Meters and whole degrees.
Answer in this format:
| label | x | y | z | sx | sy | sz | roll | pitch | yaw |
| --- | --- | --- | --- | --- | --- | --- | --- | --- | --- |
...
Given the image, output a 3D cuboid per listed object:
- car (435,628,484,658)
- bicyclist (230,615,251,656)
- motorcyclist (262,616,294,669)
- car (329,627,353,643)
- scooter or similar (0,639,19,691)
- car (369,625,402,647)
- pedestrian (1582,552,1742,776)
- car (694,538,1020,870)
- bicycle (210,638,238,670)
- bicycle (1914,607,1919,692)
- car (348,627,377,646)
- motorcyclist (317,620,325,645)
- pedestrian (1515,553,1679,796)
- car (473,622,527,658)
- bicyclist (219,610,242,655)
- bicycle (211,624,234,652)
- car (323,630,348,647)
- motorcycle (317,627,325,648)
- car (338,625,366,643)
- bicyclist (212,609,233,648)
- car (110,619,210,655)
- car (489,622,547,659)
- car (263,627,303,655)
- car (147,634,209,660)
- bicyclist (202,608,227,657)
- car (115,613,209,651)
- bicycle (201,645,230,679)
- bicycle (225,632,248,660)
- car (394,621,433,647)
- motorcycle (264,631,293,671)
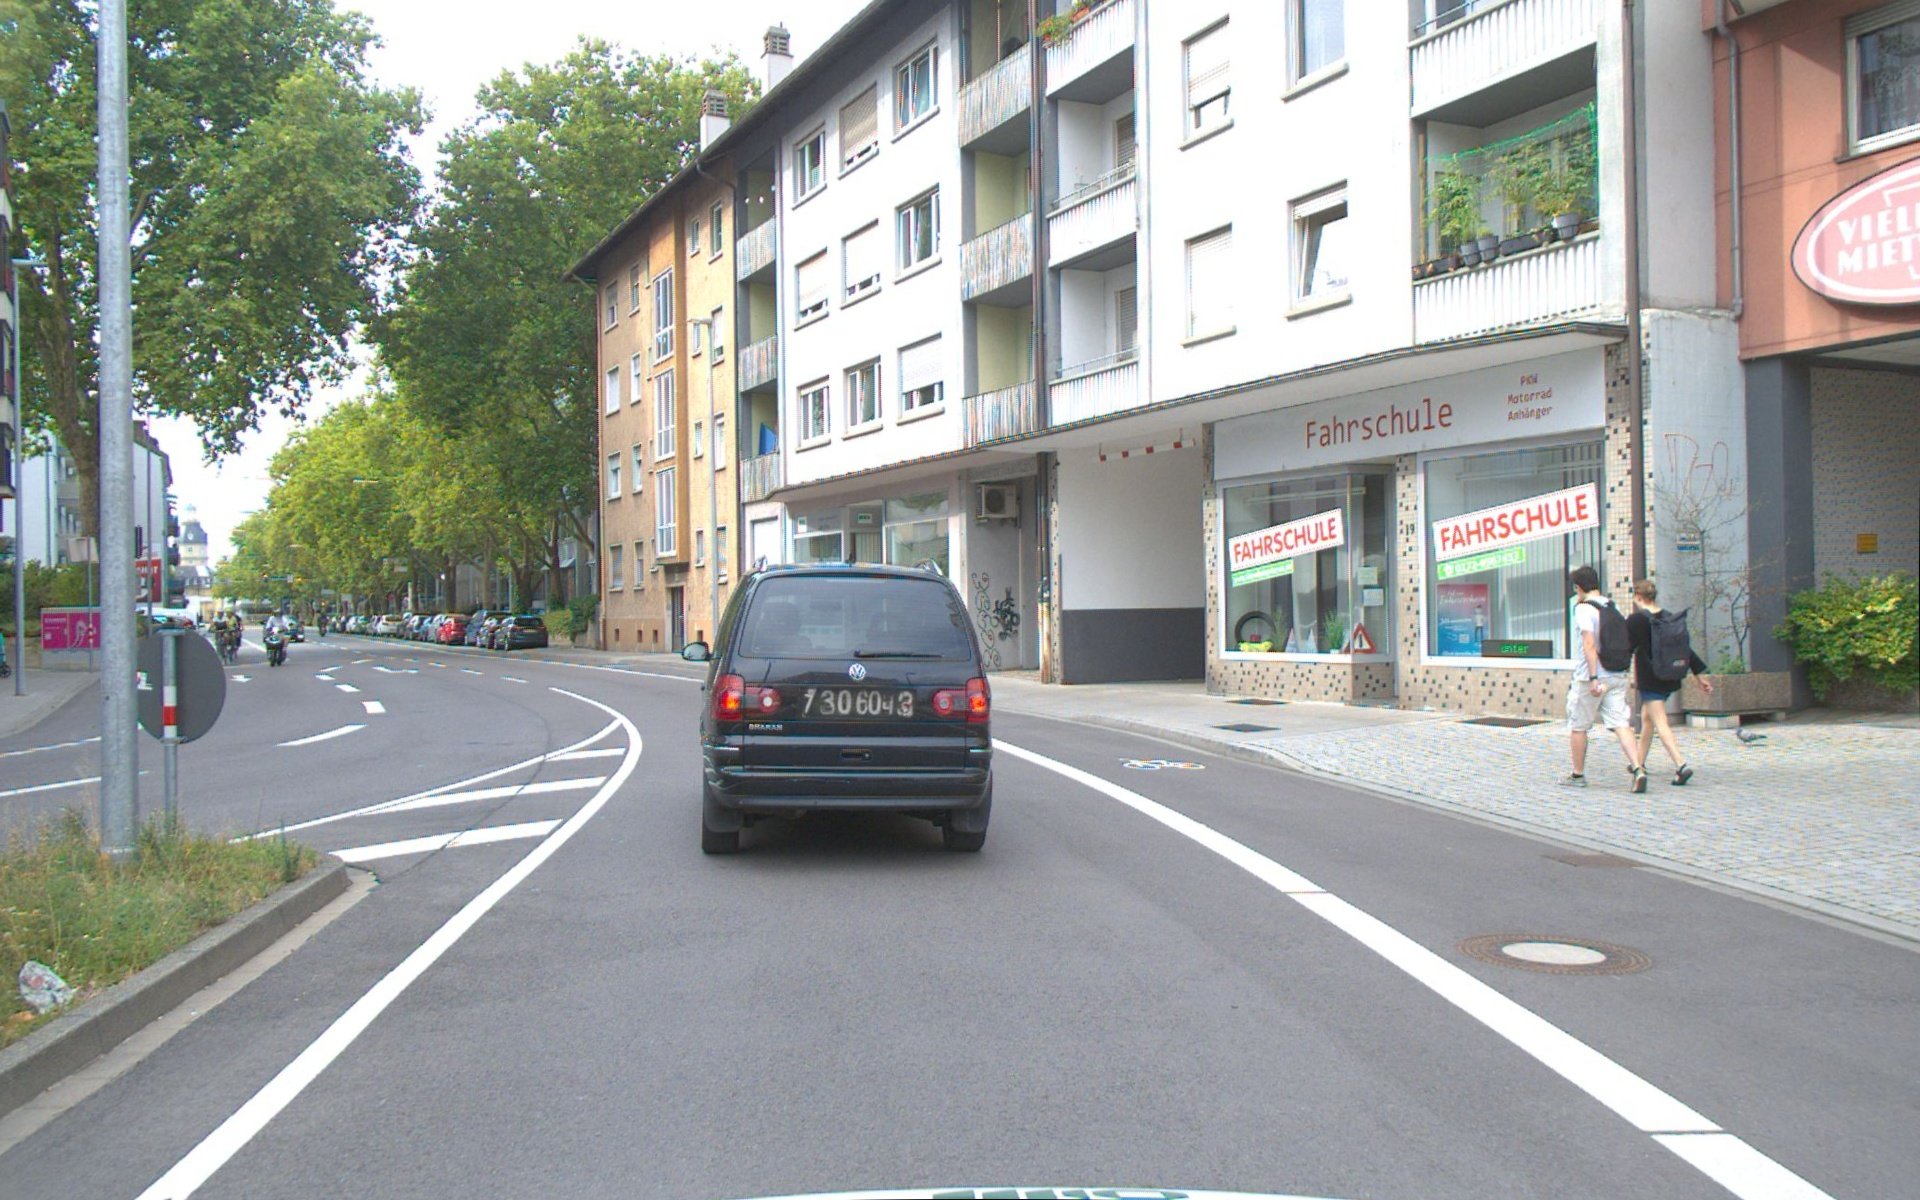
| label | x | y | z | sx | sy | sz | roll | pitch | yaw |
| --- | --- | --- | --- | --- | --- | --- | --- | --- | --- |
| car | -24.767 | 2.128 | 81.826 | 1.655 | 1.418 | 4.423 | 0 | -2 | -26 |
| bicyclist | -27.227 | 1.343 | 62.575 | 0.647 | 1.552 | 0.851 | 1 | -1 | -21 |
| motorcyclist | -19.889 | 1.244 | 48.242 | 0.785 | 1.486 | 0.859 | -2 | -1 | -22 |
| car | -54.325 | 3.070 | 145.082 | 1.655 | 1.418 | 3.845 | 0 | -2 | -26 |
| scooter or similar | -24.063 | 1.630 | 41.425 | 1.150 | 1.287 | 0.286 | -2 | -1 | 28 |
| car | -39.238 | 2.476 | 112.910 | 1.655 | 1.418 | 4.423 | 0 | -2 | -26 |
| pedestrian | 5.636 | 0.501 | 13.307 | 0.597 | 1.697 | 0.935 | -4 | 0 | -27 |
| car | -0.786 | 0.584 | 10.932 | 1.778 | 1.797 | 3.731 | 0 | -1 | -7 |
| bicycle | -25.621 | 1.884 | 57.622 | 0.727 | 1.024 | 2.238 | 1 | 0 | -21 |
| bicycle | 10.879 | 0.524 | 17.230 | 0.447 | 0.912 | 1.664 | -1 | 0 | -25 |
| car | -45.876 | 2.809 | 127.004 | 1.623 | 1.438 | 3.383 | 0 | -1 | -29 |
| motorcyclist | -43.086 | 2.198 | 111.516 | 0.441 | 1.676 | 0.515 | 0 | -1 | -25 |
| pedestrian | 4.975 | 0.564 | 12.951 | 0.739 | 1.780 | 0.856 | -4 | 0 | -14 |
| car | -20.225 | 1.735 | 72.641 | 1.637 | 1.447 | 3.914 | -1 | 0 | -26 |
| bicyclist | -25.497 | 1.138 | 57.821 | 0.647 | 1.552 | 0.835 | 1 | -1 | -21 |
| bicycle | -29.183 | 1.492 | 65.430 | 0.727 | 1.024 | 2.180 | 1 | 0 | -22 |
| car | -52.852 | 3.268 | 139.915 | 1.655 | 1.418 | 3.845 | 0 | -2 | -26 |
| motorcycle | -43.088 | 2.516 | 111.509 | 0.368 | 1.373 | 1.717 | 0 | -1 | -25 |
| car | -48.262 | 2.699 | 131.249 | 1.623 | 1.419 | 3.479 | 2 | -2 | -29 |
| bicyclist | -29.288 | 1.131 | 65.713 | 0.647 | 1.552 | 1.069 | 1 | -1 | -21 |
| car | -38.221 | 1.782 | 79.139 | 4.202 | 1.634 | 1.953 | 1 | 0 | -25 |
| car | -18.363 | 1.655 | 68.585 | 1.637 | 1.447 | 3.834 | -1 | 0 | -26 |
| car | -36.426 | 2.203 | 88.968 | 1.788 | 1.432 | 4.571 | 0 | -1 | -25 |
| car | -47.376 | 2.841 | 100.226 | 3.303 | 1.523 | 1.582 | 2 | -2 | -28 |
| bicyclist | -24.205 | 1.048 | 53.720 | 0.647 | 1.552 | 0.996 | 1 | -1 | -21 |
| car | -43.164 | 1.748 | 89.572 | 4.468 | 1.912 | 2.031 | 2 | -2 | -25 |
| bicycle | -24.187 | 1.997 | 53.766 | 0.727 | 1.024 | 1.897 | 1 | 0 | -21 |
| bicycle | -27.251 | 1.726 | 62.299 | 0.727 | 1.024 | 1.963 | 1 | 0 | -22 |
| car | -31.656 | 1.974 | 95.727 | 1.610 | 1.496 | 4.280 | 0 | -2 | -26 |
| motorcycle | -19.861 | 1.482 | 48.215 | 0.711 | 1.114 | 2.022 | -3 | -1 | -22 |
